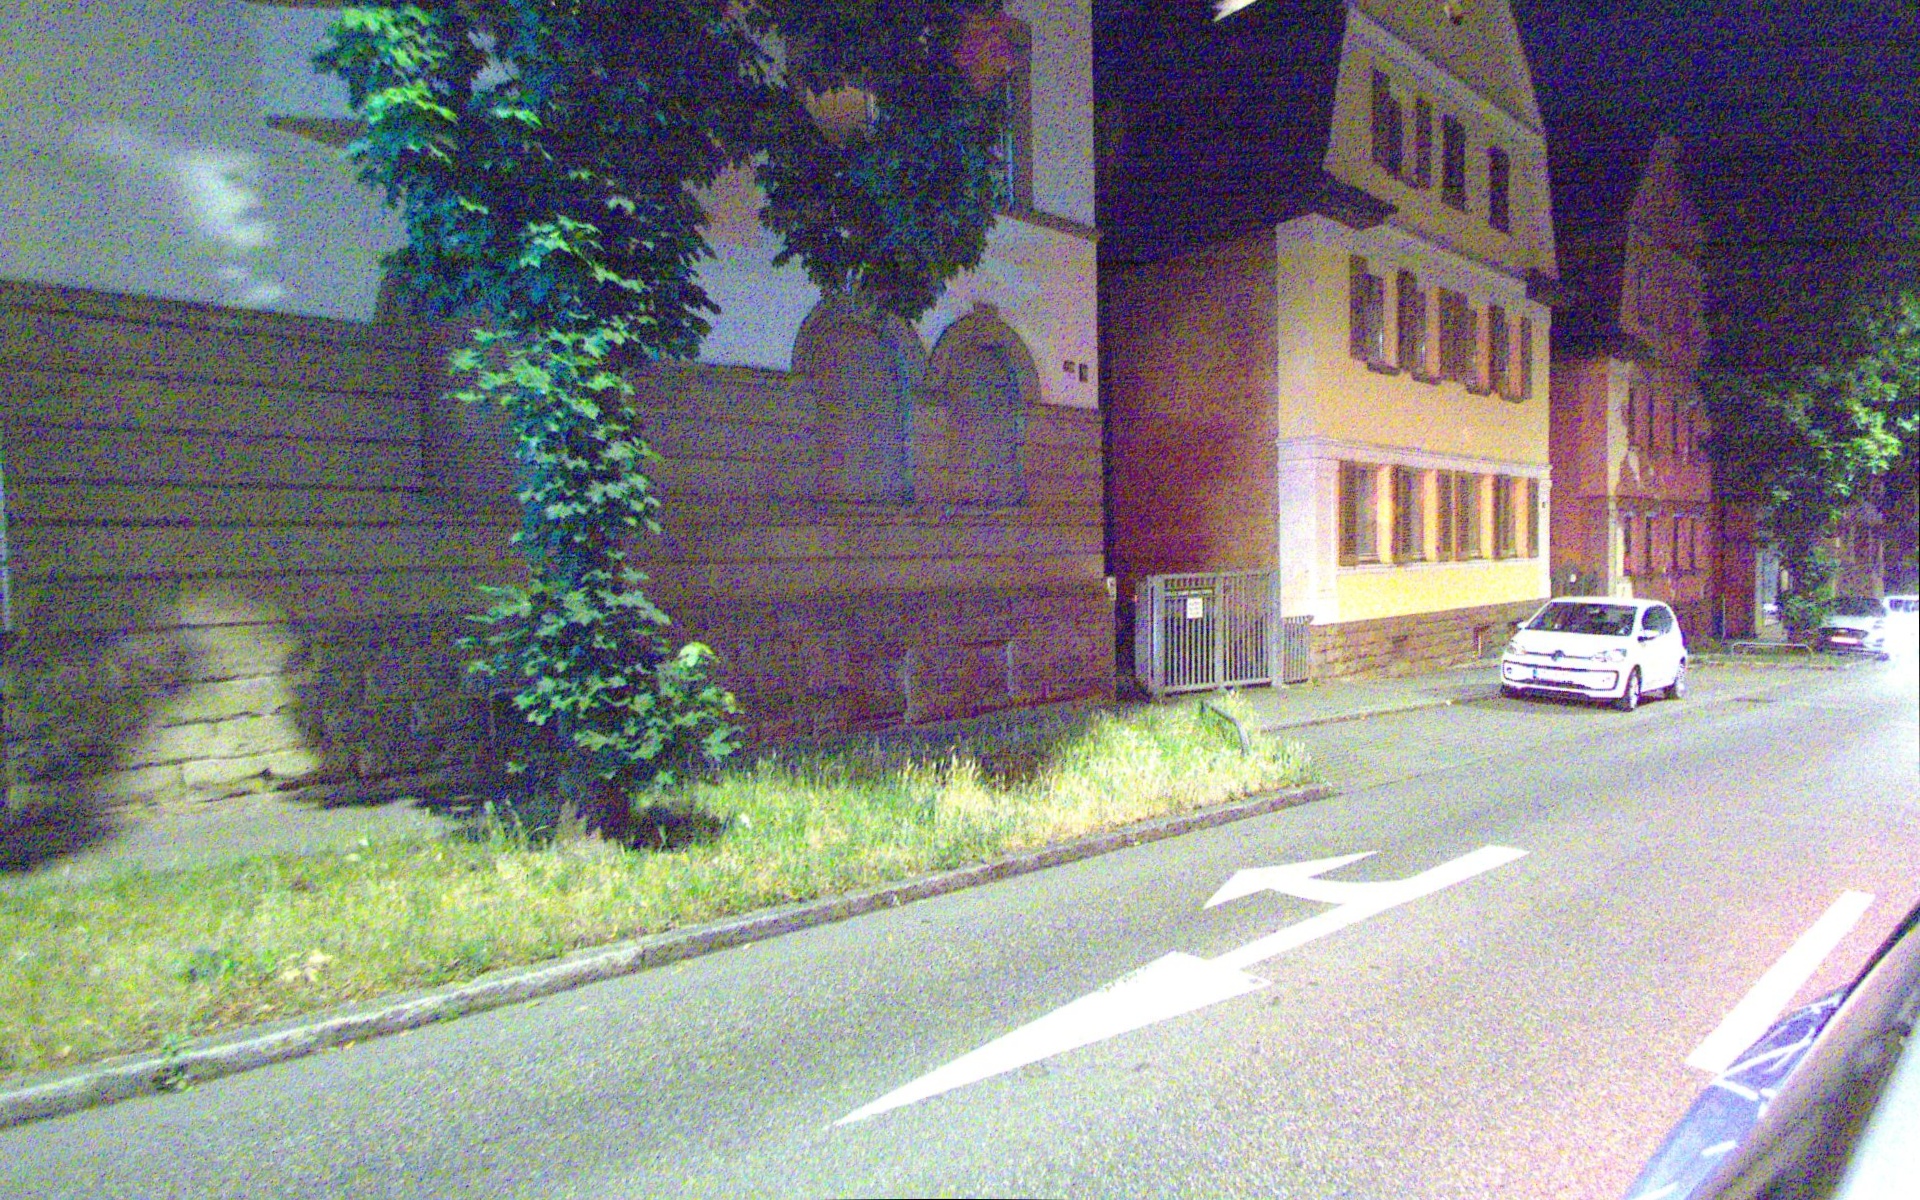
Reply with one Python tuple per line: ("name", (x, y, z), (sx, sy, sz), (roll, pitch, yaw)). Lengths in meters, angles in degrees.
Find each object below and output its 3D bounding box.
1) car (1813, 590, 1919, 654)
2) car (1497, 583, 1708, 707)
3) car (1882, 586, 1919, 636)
("car", (23.617, 0.509, 26.285), (3.824, 1.516, 1.740), (0, 2, -43))
("car", (9.290, 0.558, 14.548), (3.425, 1.527, 1.610), (0, 2, -41))
("car", (33.540, 0.369, 35.143), (4.107, 1.673, 1.850), (0, 0, -42))
